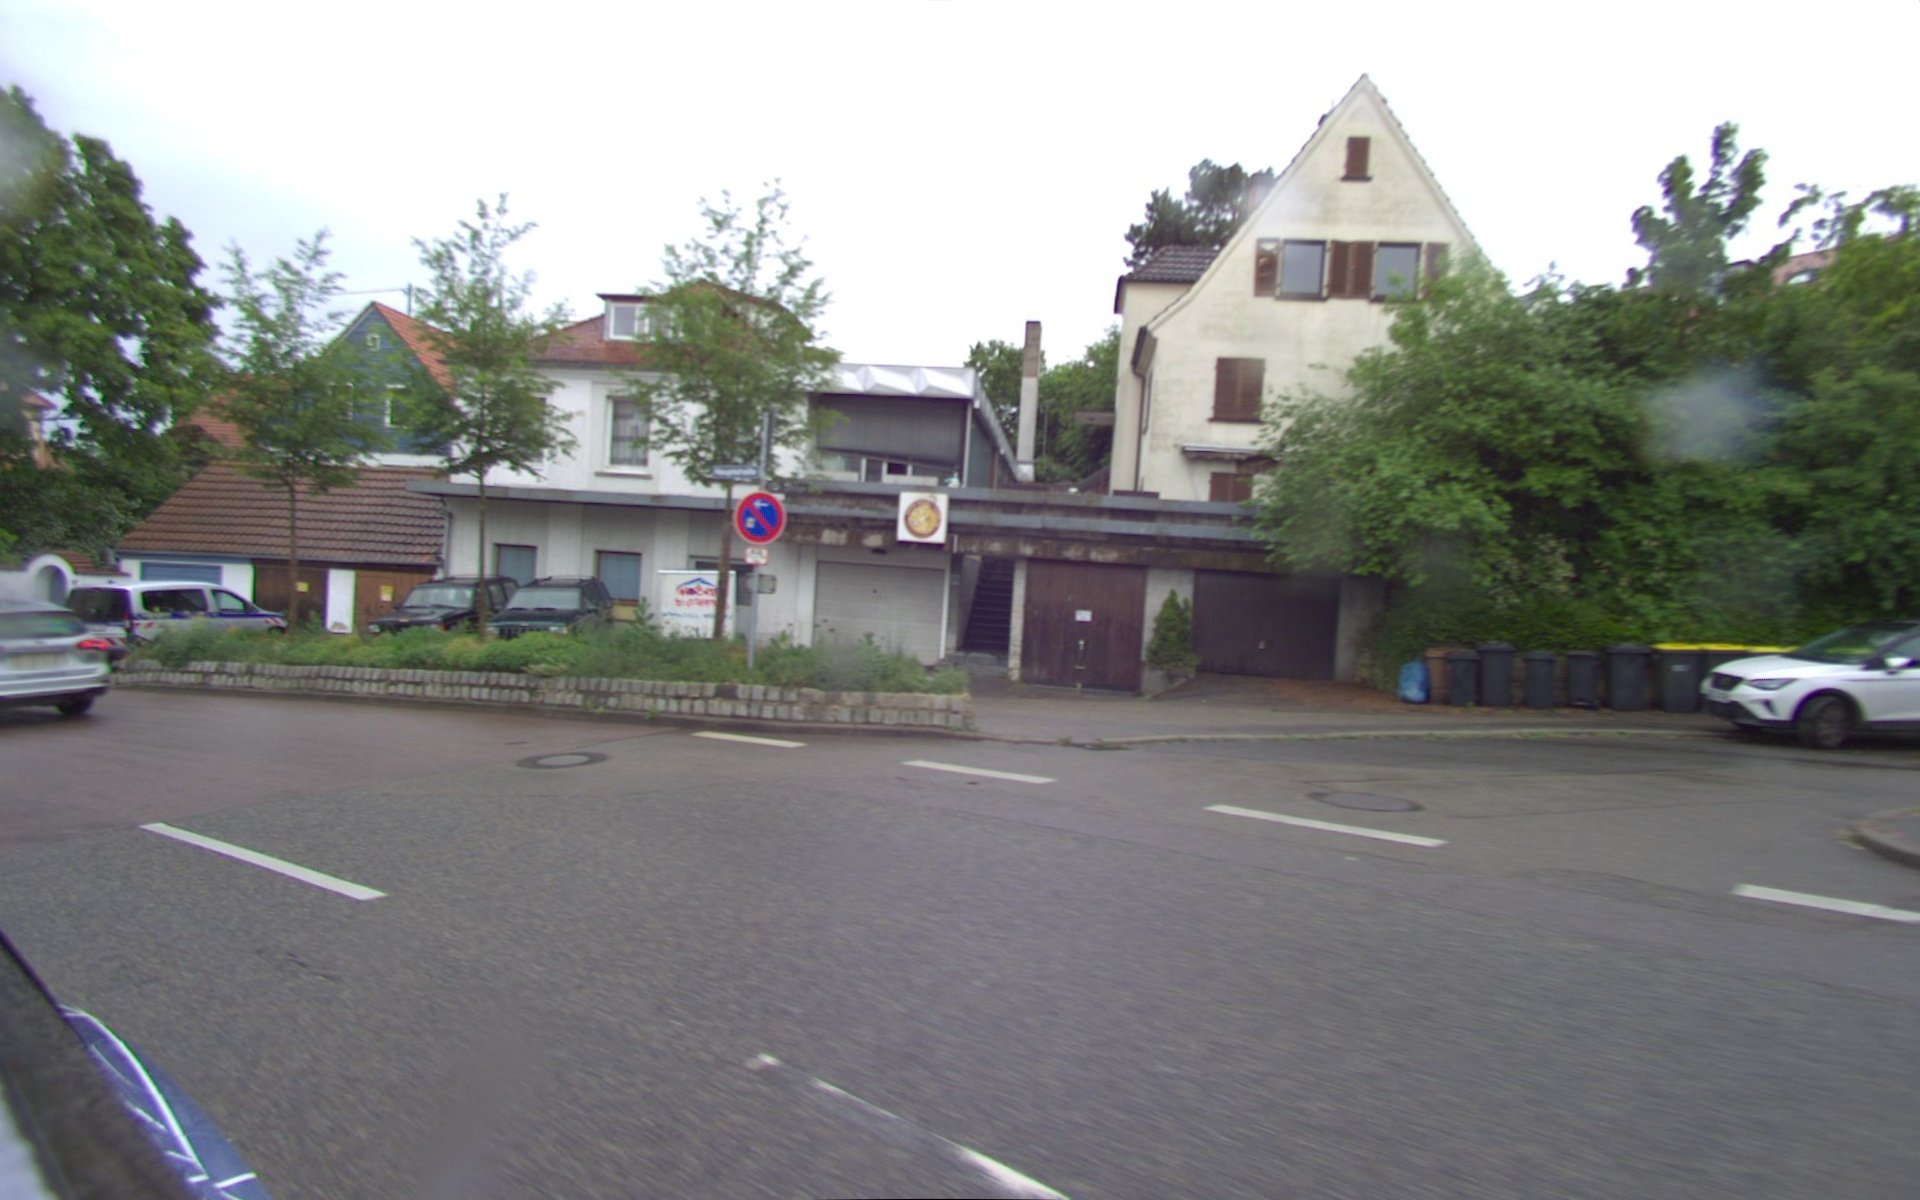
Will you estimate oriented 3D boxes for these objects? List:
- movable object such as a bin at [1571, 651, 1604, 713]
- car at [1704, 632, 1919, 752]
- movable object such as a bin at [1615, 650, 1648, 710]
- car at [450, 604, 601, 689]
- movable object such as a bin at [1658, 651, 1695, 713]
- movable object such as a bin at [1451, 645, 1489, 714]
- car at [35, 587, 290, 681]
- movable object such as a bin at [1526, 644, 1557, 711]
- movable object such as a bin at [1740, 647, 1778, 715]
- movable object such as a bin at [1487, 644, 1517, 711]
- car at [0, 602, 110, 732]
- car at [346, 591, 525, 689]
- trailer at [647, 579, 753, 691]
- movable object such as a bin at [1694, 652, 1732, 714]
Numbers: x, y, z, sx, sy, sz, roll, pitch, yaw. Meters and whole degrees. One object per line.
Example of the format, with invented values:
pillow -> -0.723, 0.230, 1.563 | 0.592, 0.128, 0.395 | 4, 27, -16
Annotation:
movable object such as a bin -> 10.024, 1.309, 16.173 | 0.379, 0.950, 0.319 | 0, 1, 20
car -> 11.678, 1.091, 12.479 | 3.704, 1.340, 1.544 | -1, 0, 9
movable object such as a bin -> 10.561, 1.253, 15.917 | 0.374, 0.922, 0.300 | 0, 1, 19
car -> -8.717, 0.879, 20.618 | 1.812, 1.496, 3.349 | 0, 1, -4
movable object such as a bin -> 11.131, 1.268, 15.729 | 0.392, 0.922, 0.293 | 0, 1, 20
movable object such as a bin -> 8.278, 1.285, 16.433 | 0.496, 1.072, 0.365 | 0, 1, 20
car -> -17.054, 0.639, 21.948 | 1.977, 1.813, 4.108 | 0, 1, 9
movable object such as a bin -> 9.318, 1.238, 16.212 | 0.379, 1.047, 0.300 | 0, 1, 20
movable object such as a bin -> 12.130, 1.219, 15.361 | 0.368, 1.002, 0.304 | 0, 1, 19
movable object such as a bin -> 8.857, 1.263, 16.546 | 0.386, 1.053, 0.347 | 0, 1, 20
car -> -12.557, 0.768, 12.288 | 4.206, 1.424, 1.589 | -1, 0, 21
car -> -10.939, 0.753, 21.454 | 1.773, 1.787, 4.092 | 0, 1, -2
trailer -> -5.461, 0.688, 21.223 | 1.920, 2.118, 3.972 | 1, -1, -15
movable object such as a bin -> 11.569, 1.268, 15.546 | 0.392, 0.922, 0.290 | 0, 1, 20
